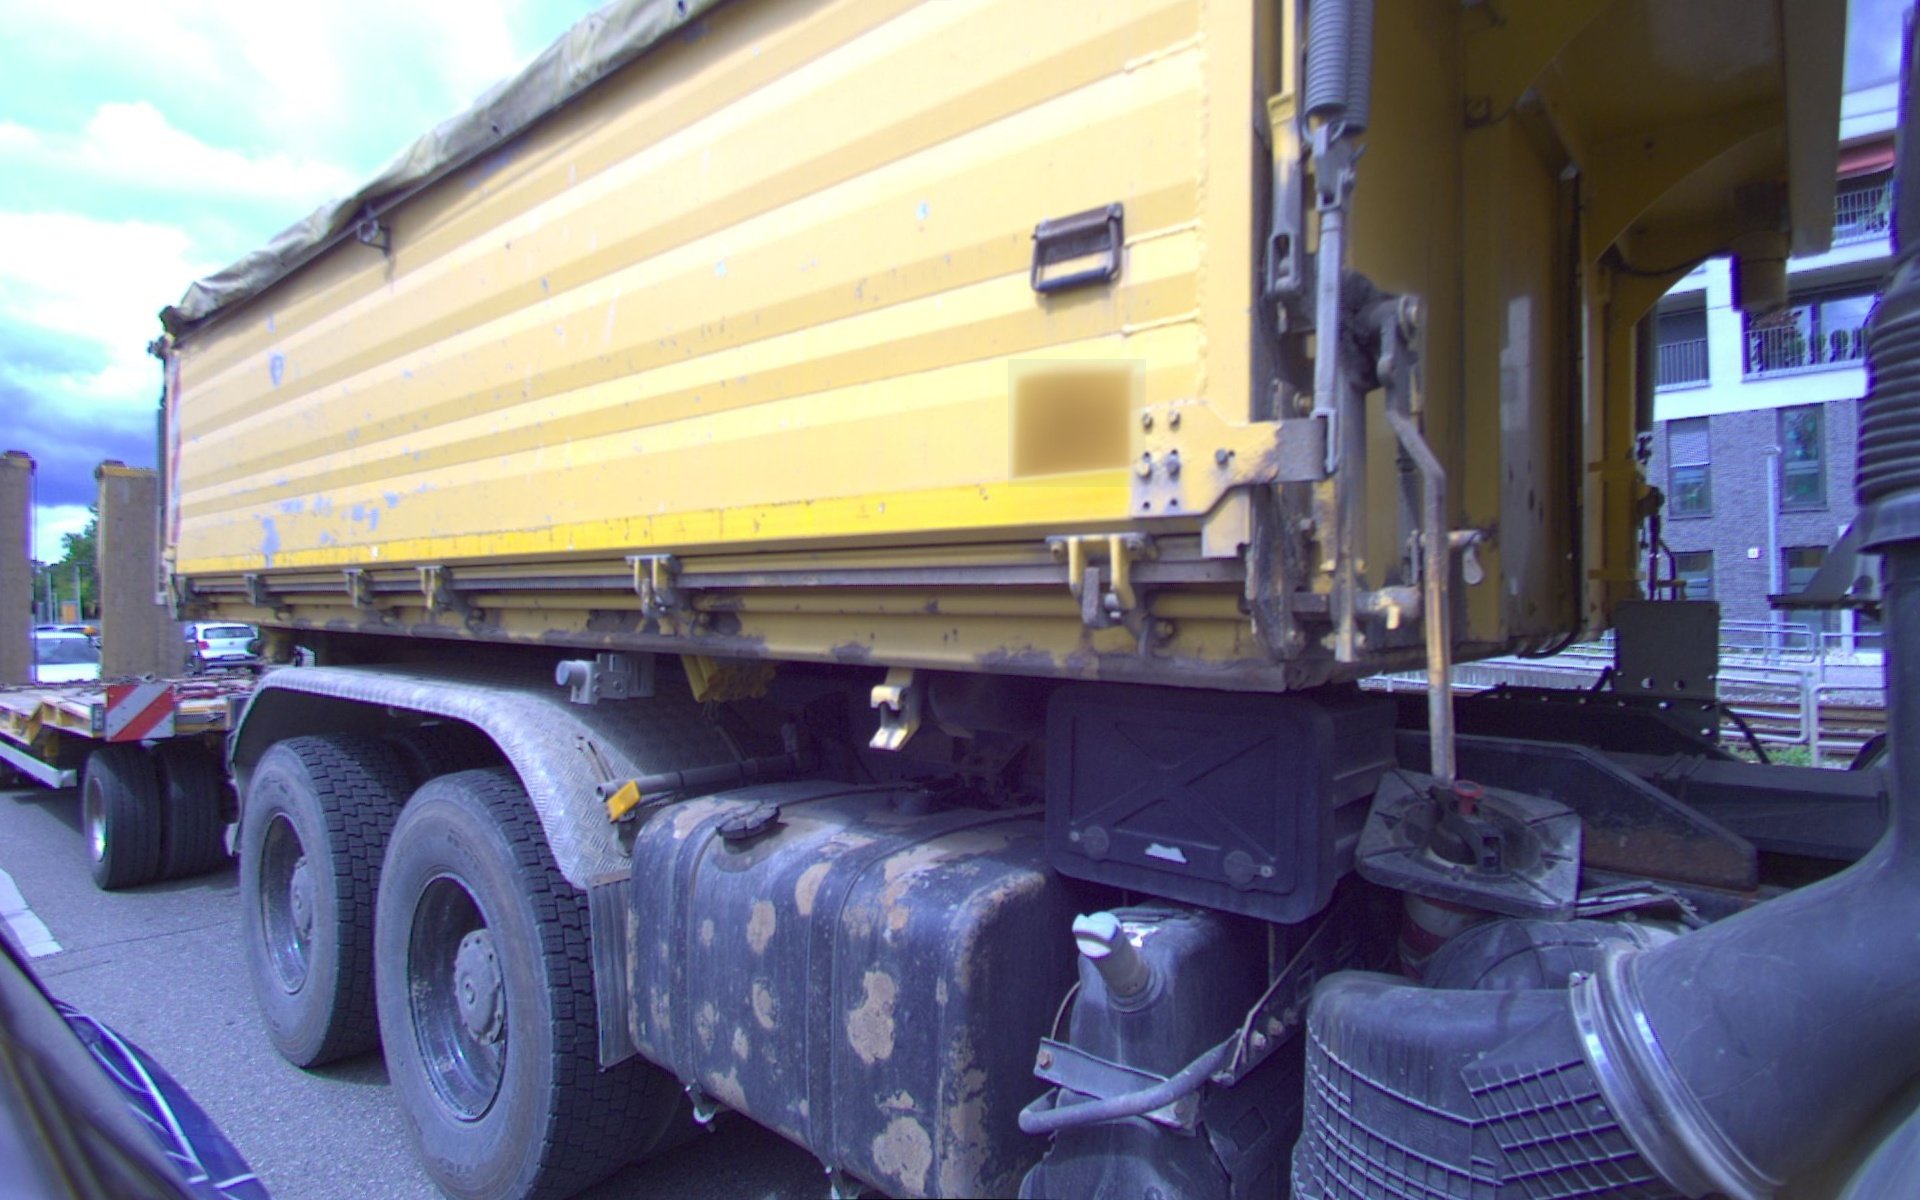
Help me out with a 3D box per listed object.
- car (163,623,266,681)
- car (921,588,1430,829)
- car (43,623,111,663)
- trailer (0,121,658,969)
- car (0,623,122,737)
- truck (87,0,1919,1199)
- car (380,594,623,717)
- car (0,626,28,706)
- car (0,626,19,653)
[{"bbox_3d":[-21.120,1.428,28.639,3.552,1.509,1.623,-2,-1,41],"label":"car"},{"bbox_3d":[1.565,0.706,8.009,3.564,1.469,1.683,-2,-1,41],"label":"car"},{"bbox_3d":[-36.092,1.732,41.339,3.552,1.509,1.623,-2,-1,41],"label":"car"},{"bbox_3d":[-6.862,-0.136,8.853,10.909,3.548,2.678,-2,-1,41],"label":"trailer"},{"bbox_3d":[-14.284,1.135,15.468,3.998,1.490,1.671,-1,0,41],"label":"car"},{"bbox_3d":[0.156,-0.041,2.684,7.775,3.026,2.692,-1,0,41],"label":"truck"},{"bbox_3d":[-7.795,0.863,16.963,4.861,1.785,1.863,-2,-1,41],"label":"car"},{"bbox_3d":[-20.065,1.297,20.254,3.998,1.490,1.671,-1,0,41],"label":"car"},{"bbox_3d":[-55.654,2.268,58.311,3.552,1.509,1.747,-2,-1,41],"label":"car"}]
